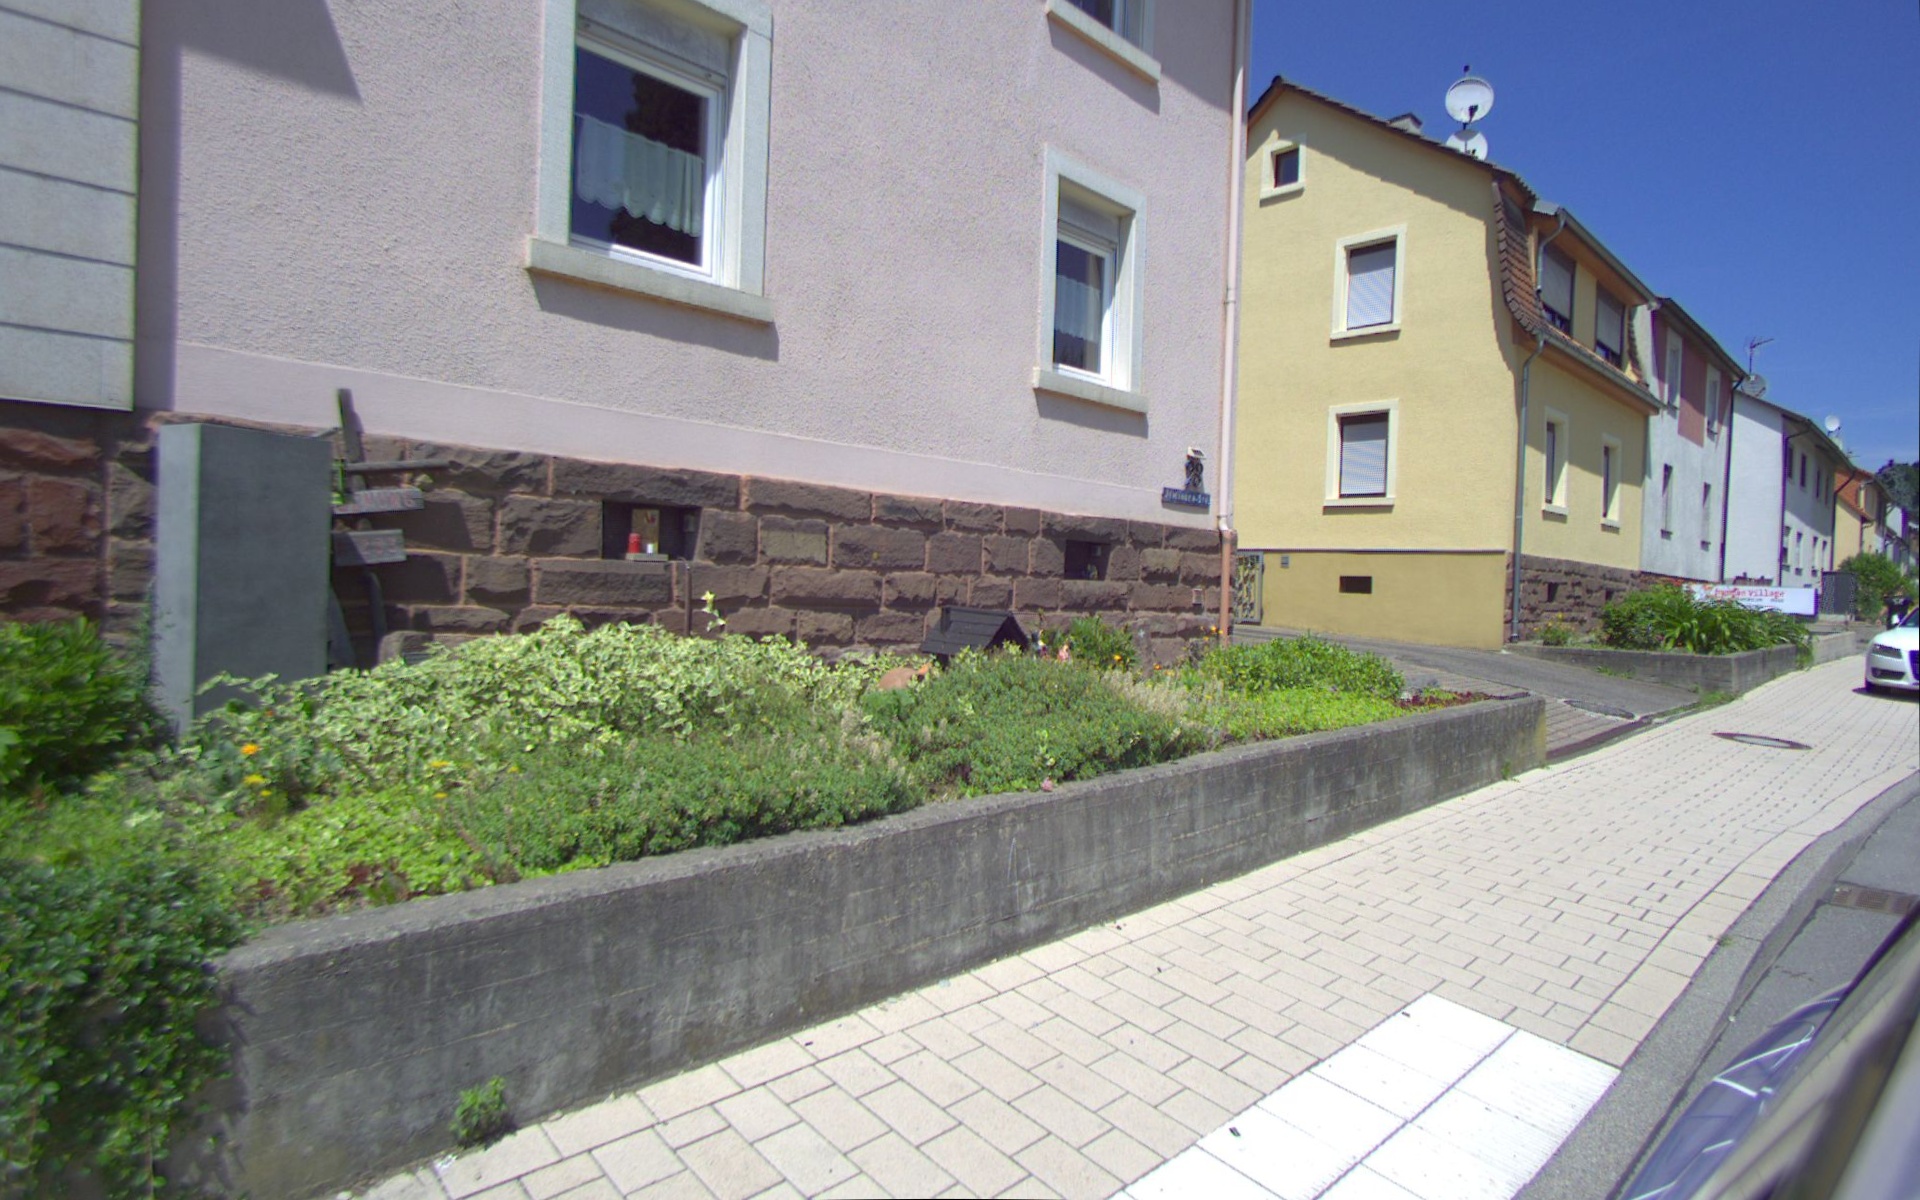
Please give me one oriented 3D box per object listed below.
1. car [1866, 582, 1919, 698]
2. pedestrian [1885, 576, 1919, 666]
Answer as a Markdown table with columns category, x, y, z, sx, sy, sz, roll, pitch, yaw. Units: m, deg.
| category | x | y | z | sx | sy | sz | roll | pitch | yaw |
| --- | --- | --- | --- | --- | --- | --- | --- | --- | --- |
| car | 14.517 | 0.545 | 14.233 | 4.548 | 1.434 | 1.763 | -1 | 6 | -38 |
| pedestrian | 22.162 | 0.470 | 23.625 | 1.016 | 2.039 | 0.747 | -1 | 0 | -42 |
